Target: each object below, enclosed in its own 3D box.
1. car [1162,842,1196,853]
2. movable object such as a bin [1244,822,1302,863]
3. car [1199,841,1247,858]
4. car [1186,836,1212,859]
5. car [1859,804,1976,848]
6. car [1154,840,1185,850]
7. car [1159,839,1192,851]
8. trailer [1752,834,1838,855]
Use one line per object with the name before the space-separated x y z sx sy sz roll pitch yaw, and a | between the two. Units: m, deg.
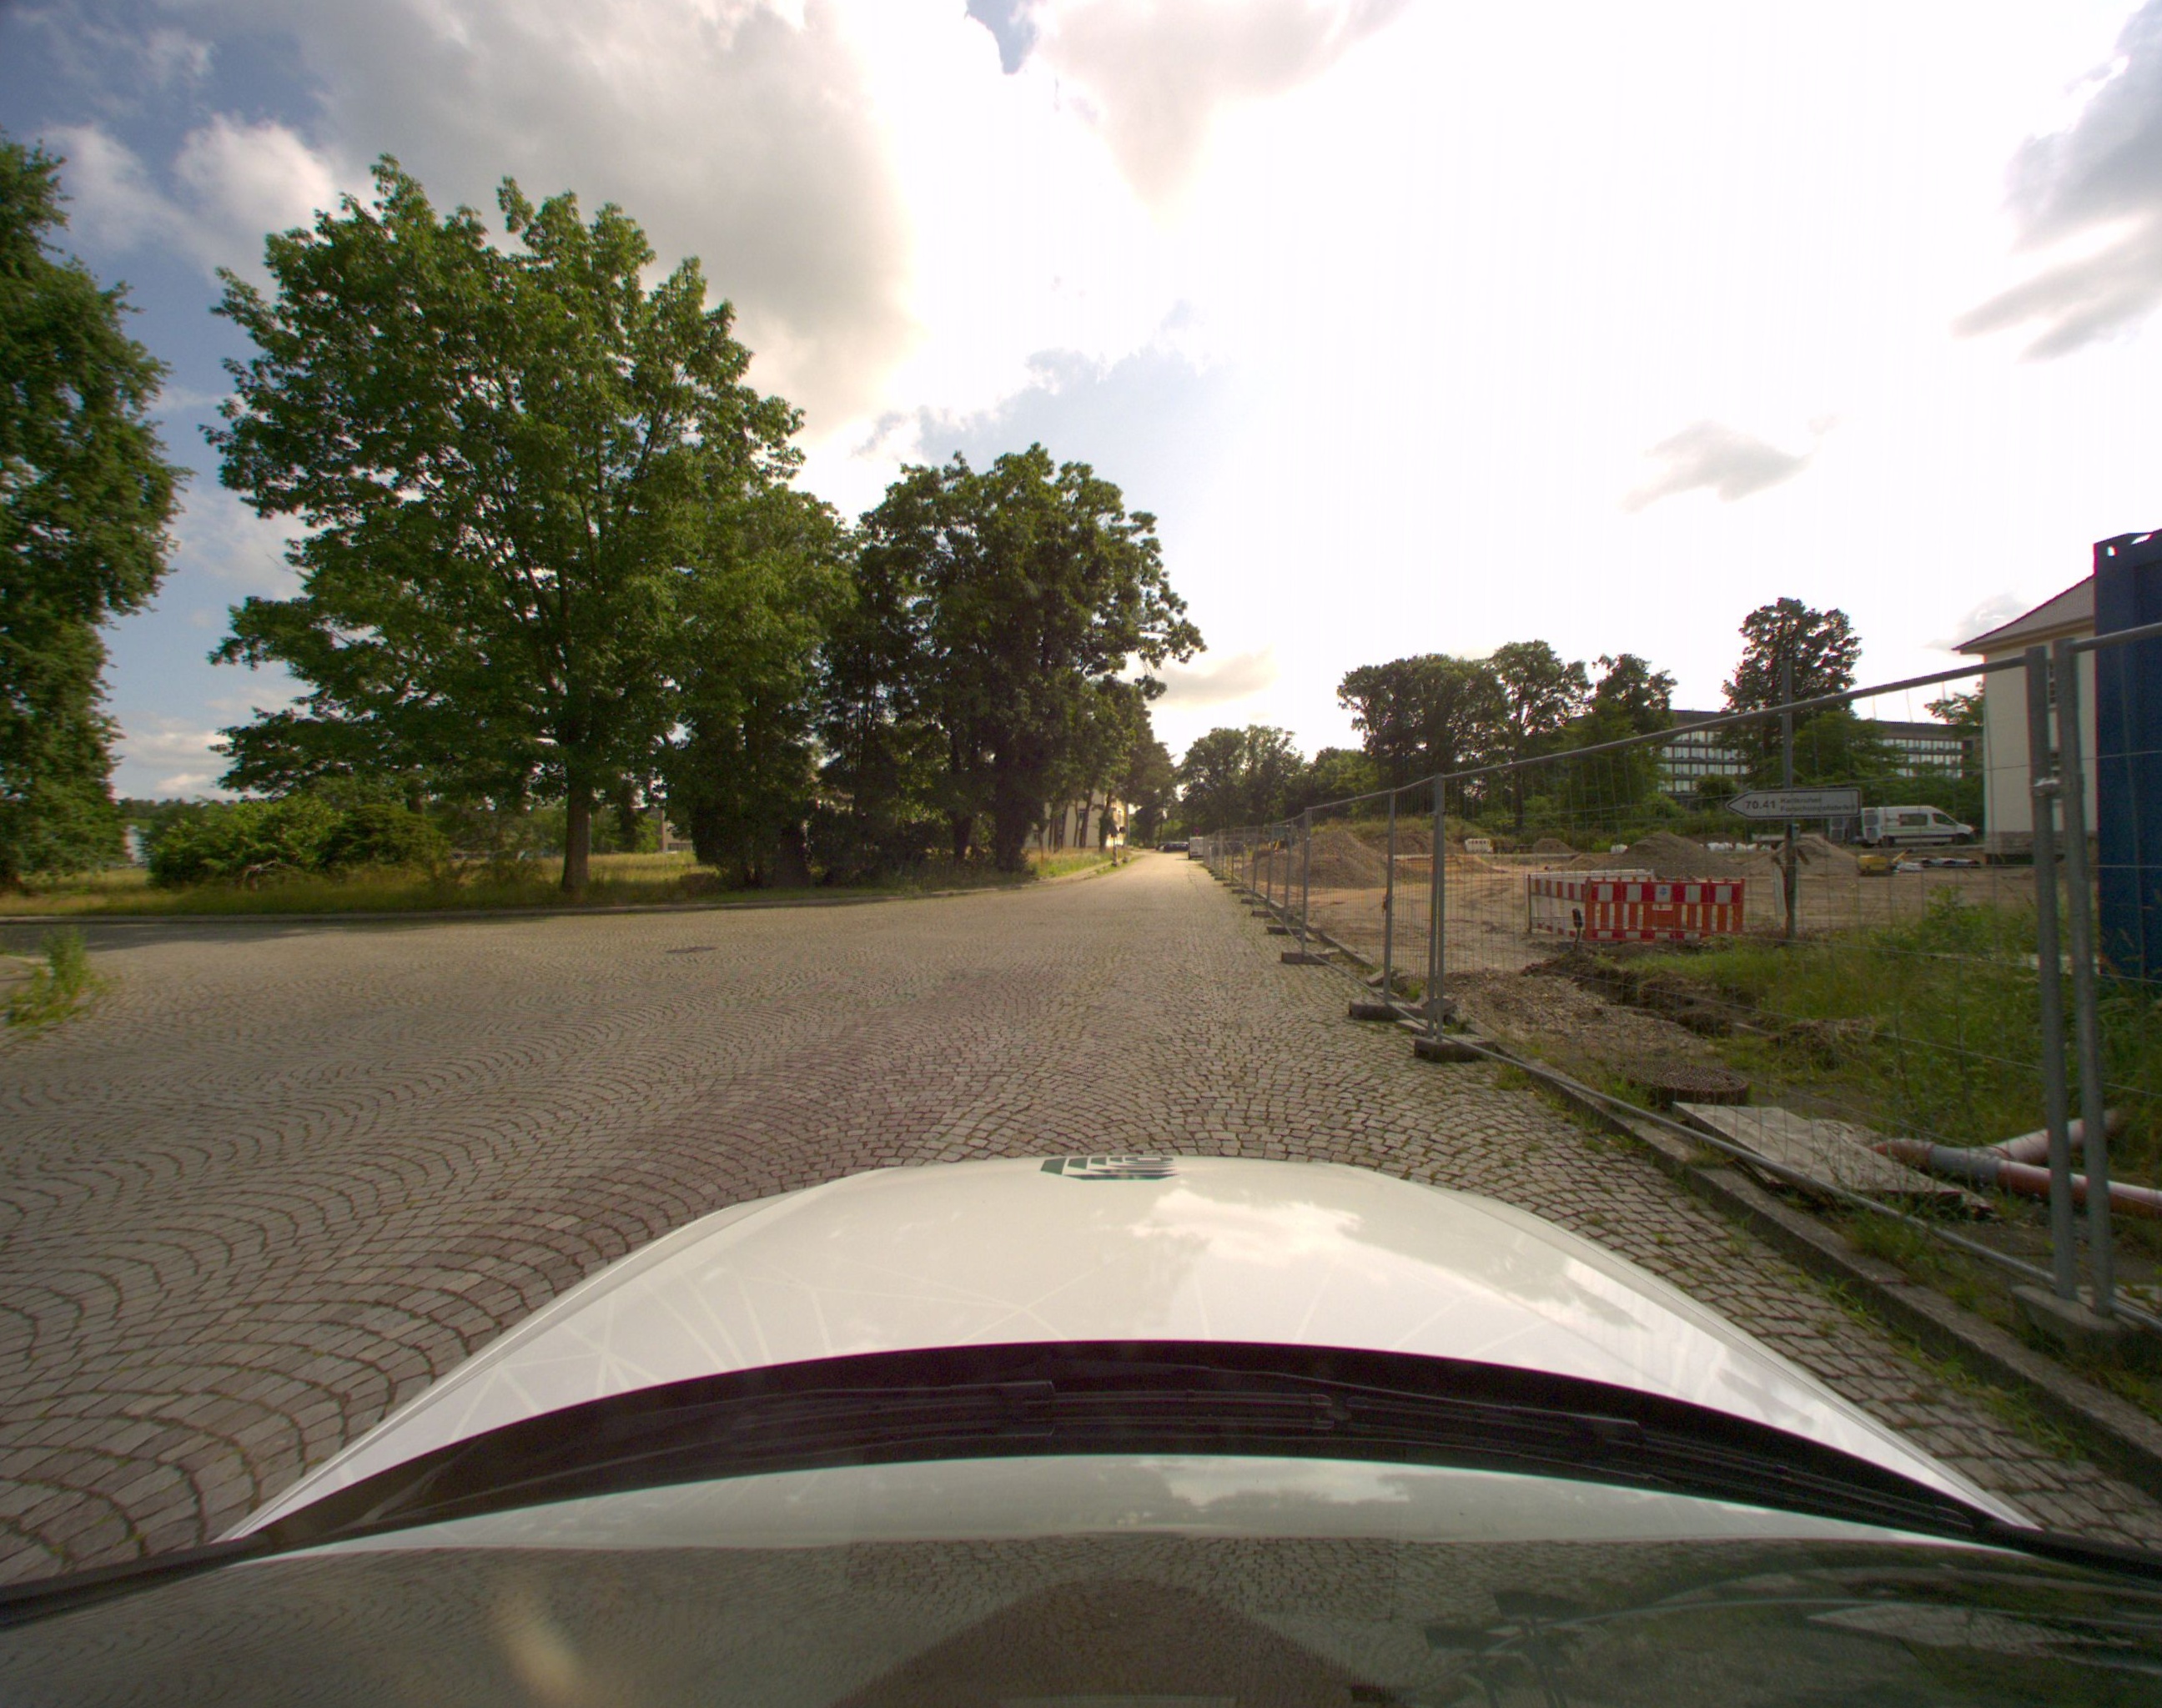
car | 14.486 -0.974 120.769 4.763 1.640 2.000 0 1 0
movable object such as a bin | 12.875 -0.772 54.350 2.108 2.593 4.822 0 1 35
car | 13.644 -0.428 78.270 4.371 1.510 2.008 1 1 14
car | 10.507 -0.576 72.737 1.984 2.013 4.097 0 1 5
car | 52.498 -1.720 51.223 4.763 2.642 2.066 0 0 18
car | 14.134 -1.476 130.161 4.763 1.640 2.000 0 1 0
car | 14.371 -1.371 123.755 4.763 1.640 2.000 0 1 0
trailer | 47.025 -0.613 53.744 3.949 1.354 2.101 0 1 31
